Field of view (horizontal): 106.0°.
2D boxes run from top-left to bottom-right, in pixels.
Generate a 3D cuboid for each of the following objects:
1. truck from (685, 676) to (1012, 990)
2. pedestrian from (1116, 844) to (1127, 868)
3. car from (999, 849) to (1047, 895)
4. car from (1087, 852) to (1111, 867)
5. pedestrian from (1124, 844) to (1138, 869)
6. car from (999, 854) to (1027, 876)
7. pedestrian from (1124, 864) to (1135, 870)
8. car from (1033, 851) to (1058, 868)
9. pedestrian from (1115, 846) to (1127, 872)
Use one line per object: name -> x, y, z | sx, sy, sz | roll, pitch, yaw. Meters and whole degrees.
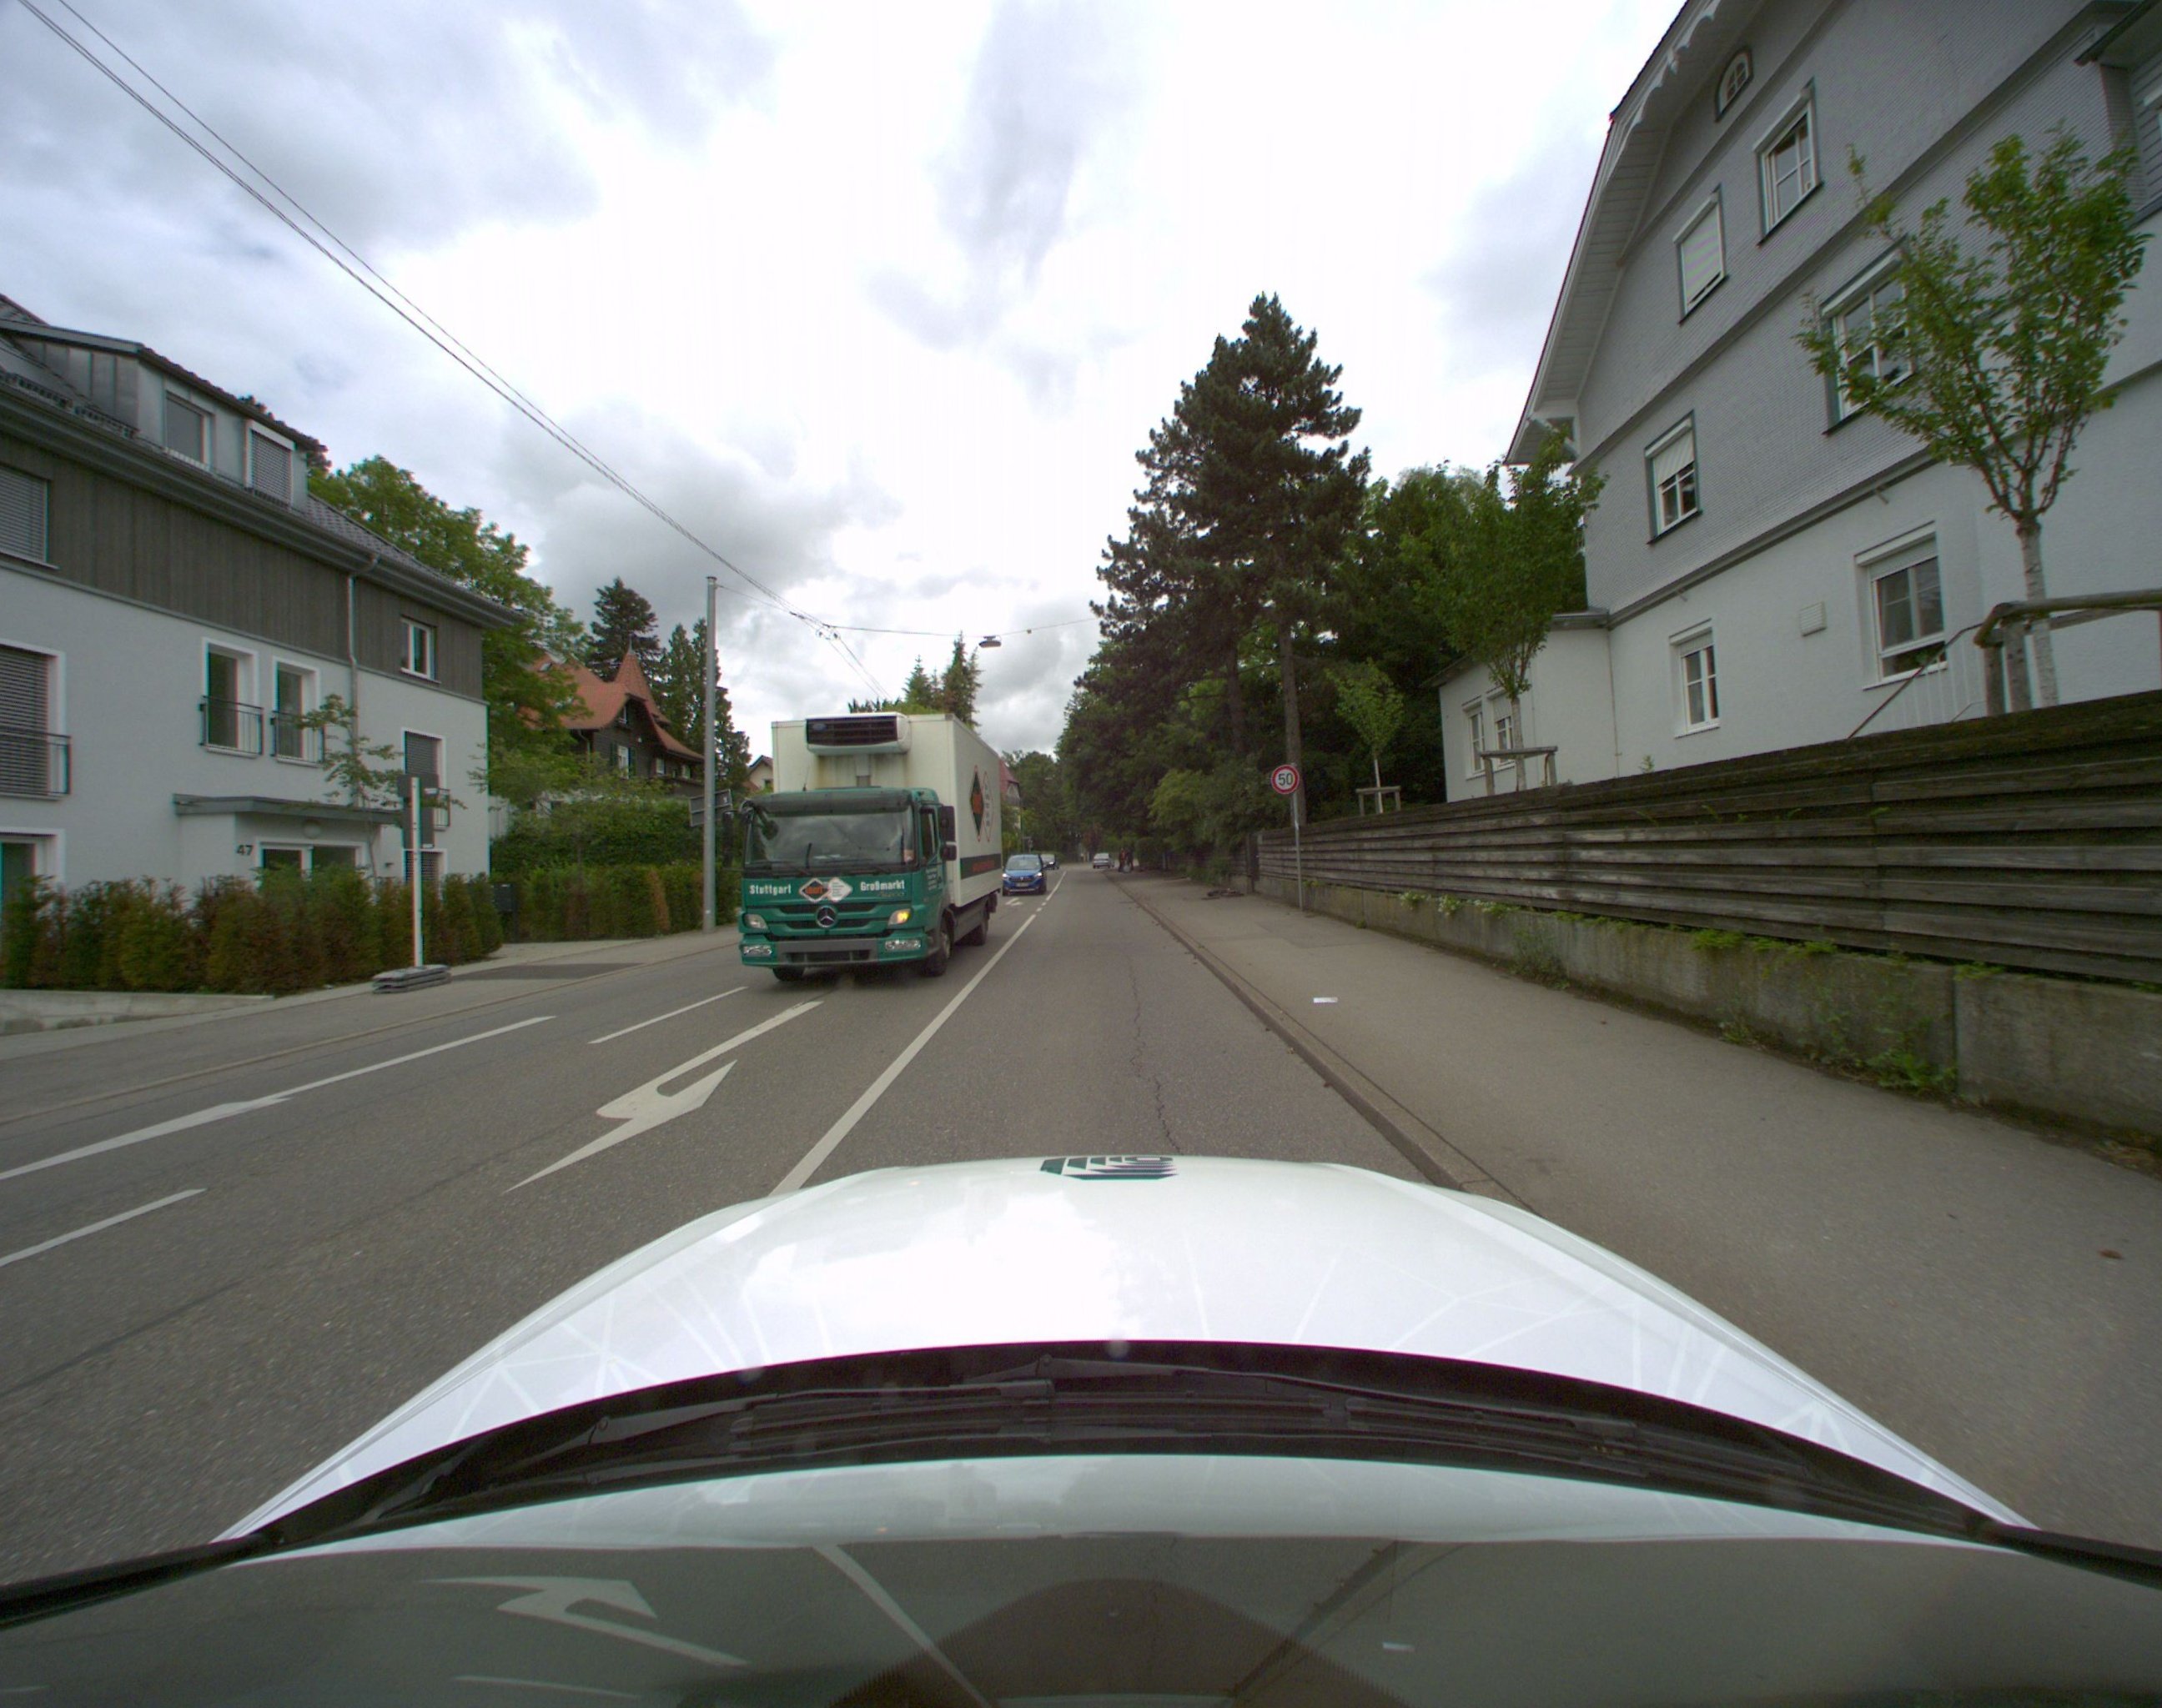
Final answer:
truck -> -2.975, -0.169, 13.009 | 2.767, 3.461, 7.495 | -2, -1, 1
pedestrian -> 2.972, 0.148, 60.011 | 0.594, 1.807, 0.522 | -3, 0, 40
car -> -2.470, 0.715, 34.596 | 1.802, 1.717, 4.372 | -4, 0, -4
car -> 1.803, 0.574, 79.380 | 1.786, 1.415, 4.346 | -2, -1, 9
pedestrian -> 3.670, 0.171, 60.263 | 0.694, 1.807, 0.665 | -2, 0, -41
car -> -4.859, 0.789, 58.940 | 1.679, 1.519, 3.535 | -2, 0, 0
pedestrian -> 3.375, 0.884, 56.878 | 0.670, 0.393, 0.740 | -2, 0, -1
car -> -3.255, 0.478, 75.373 | 1.673, 1.471, 4.023 | -2, 0, 5
pedestrian -> 2.893, 0.367, 58.813 | 0.804, 1.807, 0.740 | -2, 0, -1
